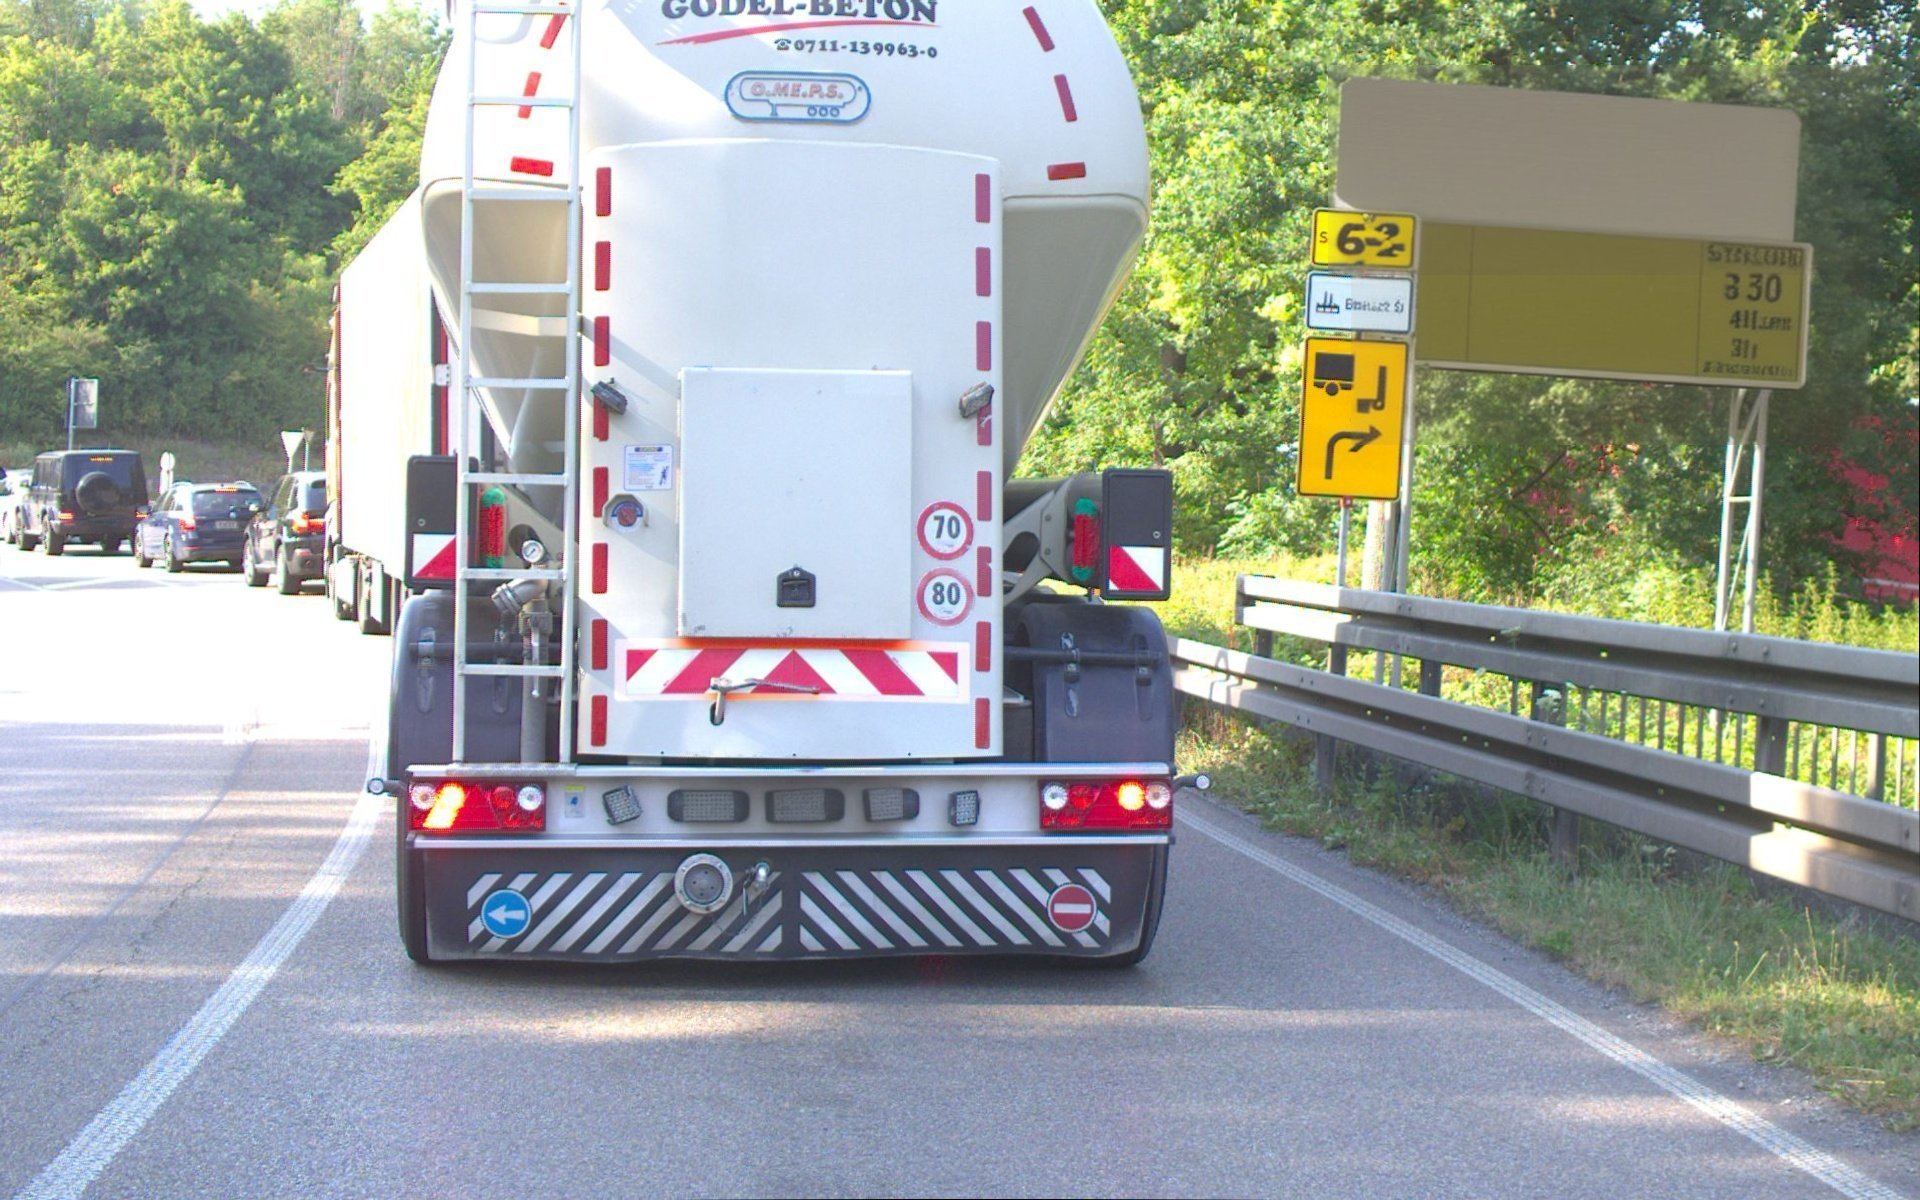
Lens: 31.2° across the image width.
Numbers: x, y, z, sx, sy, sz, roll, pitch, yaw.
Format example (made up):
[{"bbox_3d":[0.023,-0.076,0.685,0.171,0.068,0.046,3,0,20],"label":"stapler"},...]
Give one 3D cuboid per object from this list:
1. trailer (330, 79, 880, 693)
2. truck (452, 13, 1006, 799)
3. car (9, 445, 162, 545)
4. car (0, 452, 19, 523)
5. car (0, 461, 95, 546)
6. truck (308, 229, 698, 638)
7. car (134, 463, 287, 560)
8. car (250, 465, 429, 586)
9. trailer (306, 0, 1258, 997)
[{"bbox_3d":[-3.819,-1.754,32.334,3.544,4.497,12.988,1,1,-13],"label":"trailer"},{"bbox_3d":[-1.612,-1.062,20.760,2.823,4.021,5.896,1,1,-8],"label":"truck"},{"bbox_3d":[-16.783,-2.044,65.871,1.956,1.845,4.001,-1,3,-27],"label":"car"},{"bbox_3d":[-22.974,-2.641,78.709,1.867,1.589,4.001,2,1,-28],"label":"car"},{"bbox_3d":[-19.795,-2.073,72.828,1.867,1.677,4.001,2,2,-28],"label":"car"},{"bbox_3d":[-5.270,-1.772,38.456,3.449,4.072,6.493,1,1,-15],"label":"truck"},{"bbox_3d":[-12.555,-1.499,57.424,1.867,1.559,4.001,-1,2,-21],"label":"car"},{"bbox_3d":[-8.861,-1.099,48.851,1.867,1.622,4.002,-1,3,-19],"label":"car"},{"bbox_3d":[-0.997,-1.120,15.370,2.886,4.439,9.608,1,1,-6],"label":"trailer"}]
